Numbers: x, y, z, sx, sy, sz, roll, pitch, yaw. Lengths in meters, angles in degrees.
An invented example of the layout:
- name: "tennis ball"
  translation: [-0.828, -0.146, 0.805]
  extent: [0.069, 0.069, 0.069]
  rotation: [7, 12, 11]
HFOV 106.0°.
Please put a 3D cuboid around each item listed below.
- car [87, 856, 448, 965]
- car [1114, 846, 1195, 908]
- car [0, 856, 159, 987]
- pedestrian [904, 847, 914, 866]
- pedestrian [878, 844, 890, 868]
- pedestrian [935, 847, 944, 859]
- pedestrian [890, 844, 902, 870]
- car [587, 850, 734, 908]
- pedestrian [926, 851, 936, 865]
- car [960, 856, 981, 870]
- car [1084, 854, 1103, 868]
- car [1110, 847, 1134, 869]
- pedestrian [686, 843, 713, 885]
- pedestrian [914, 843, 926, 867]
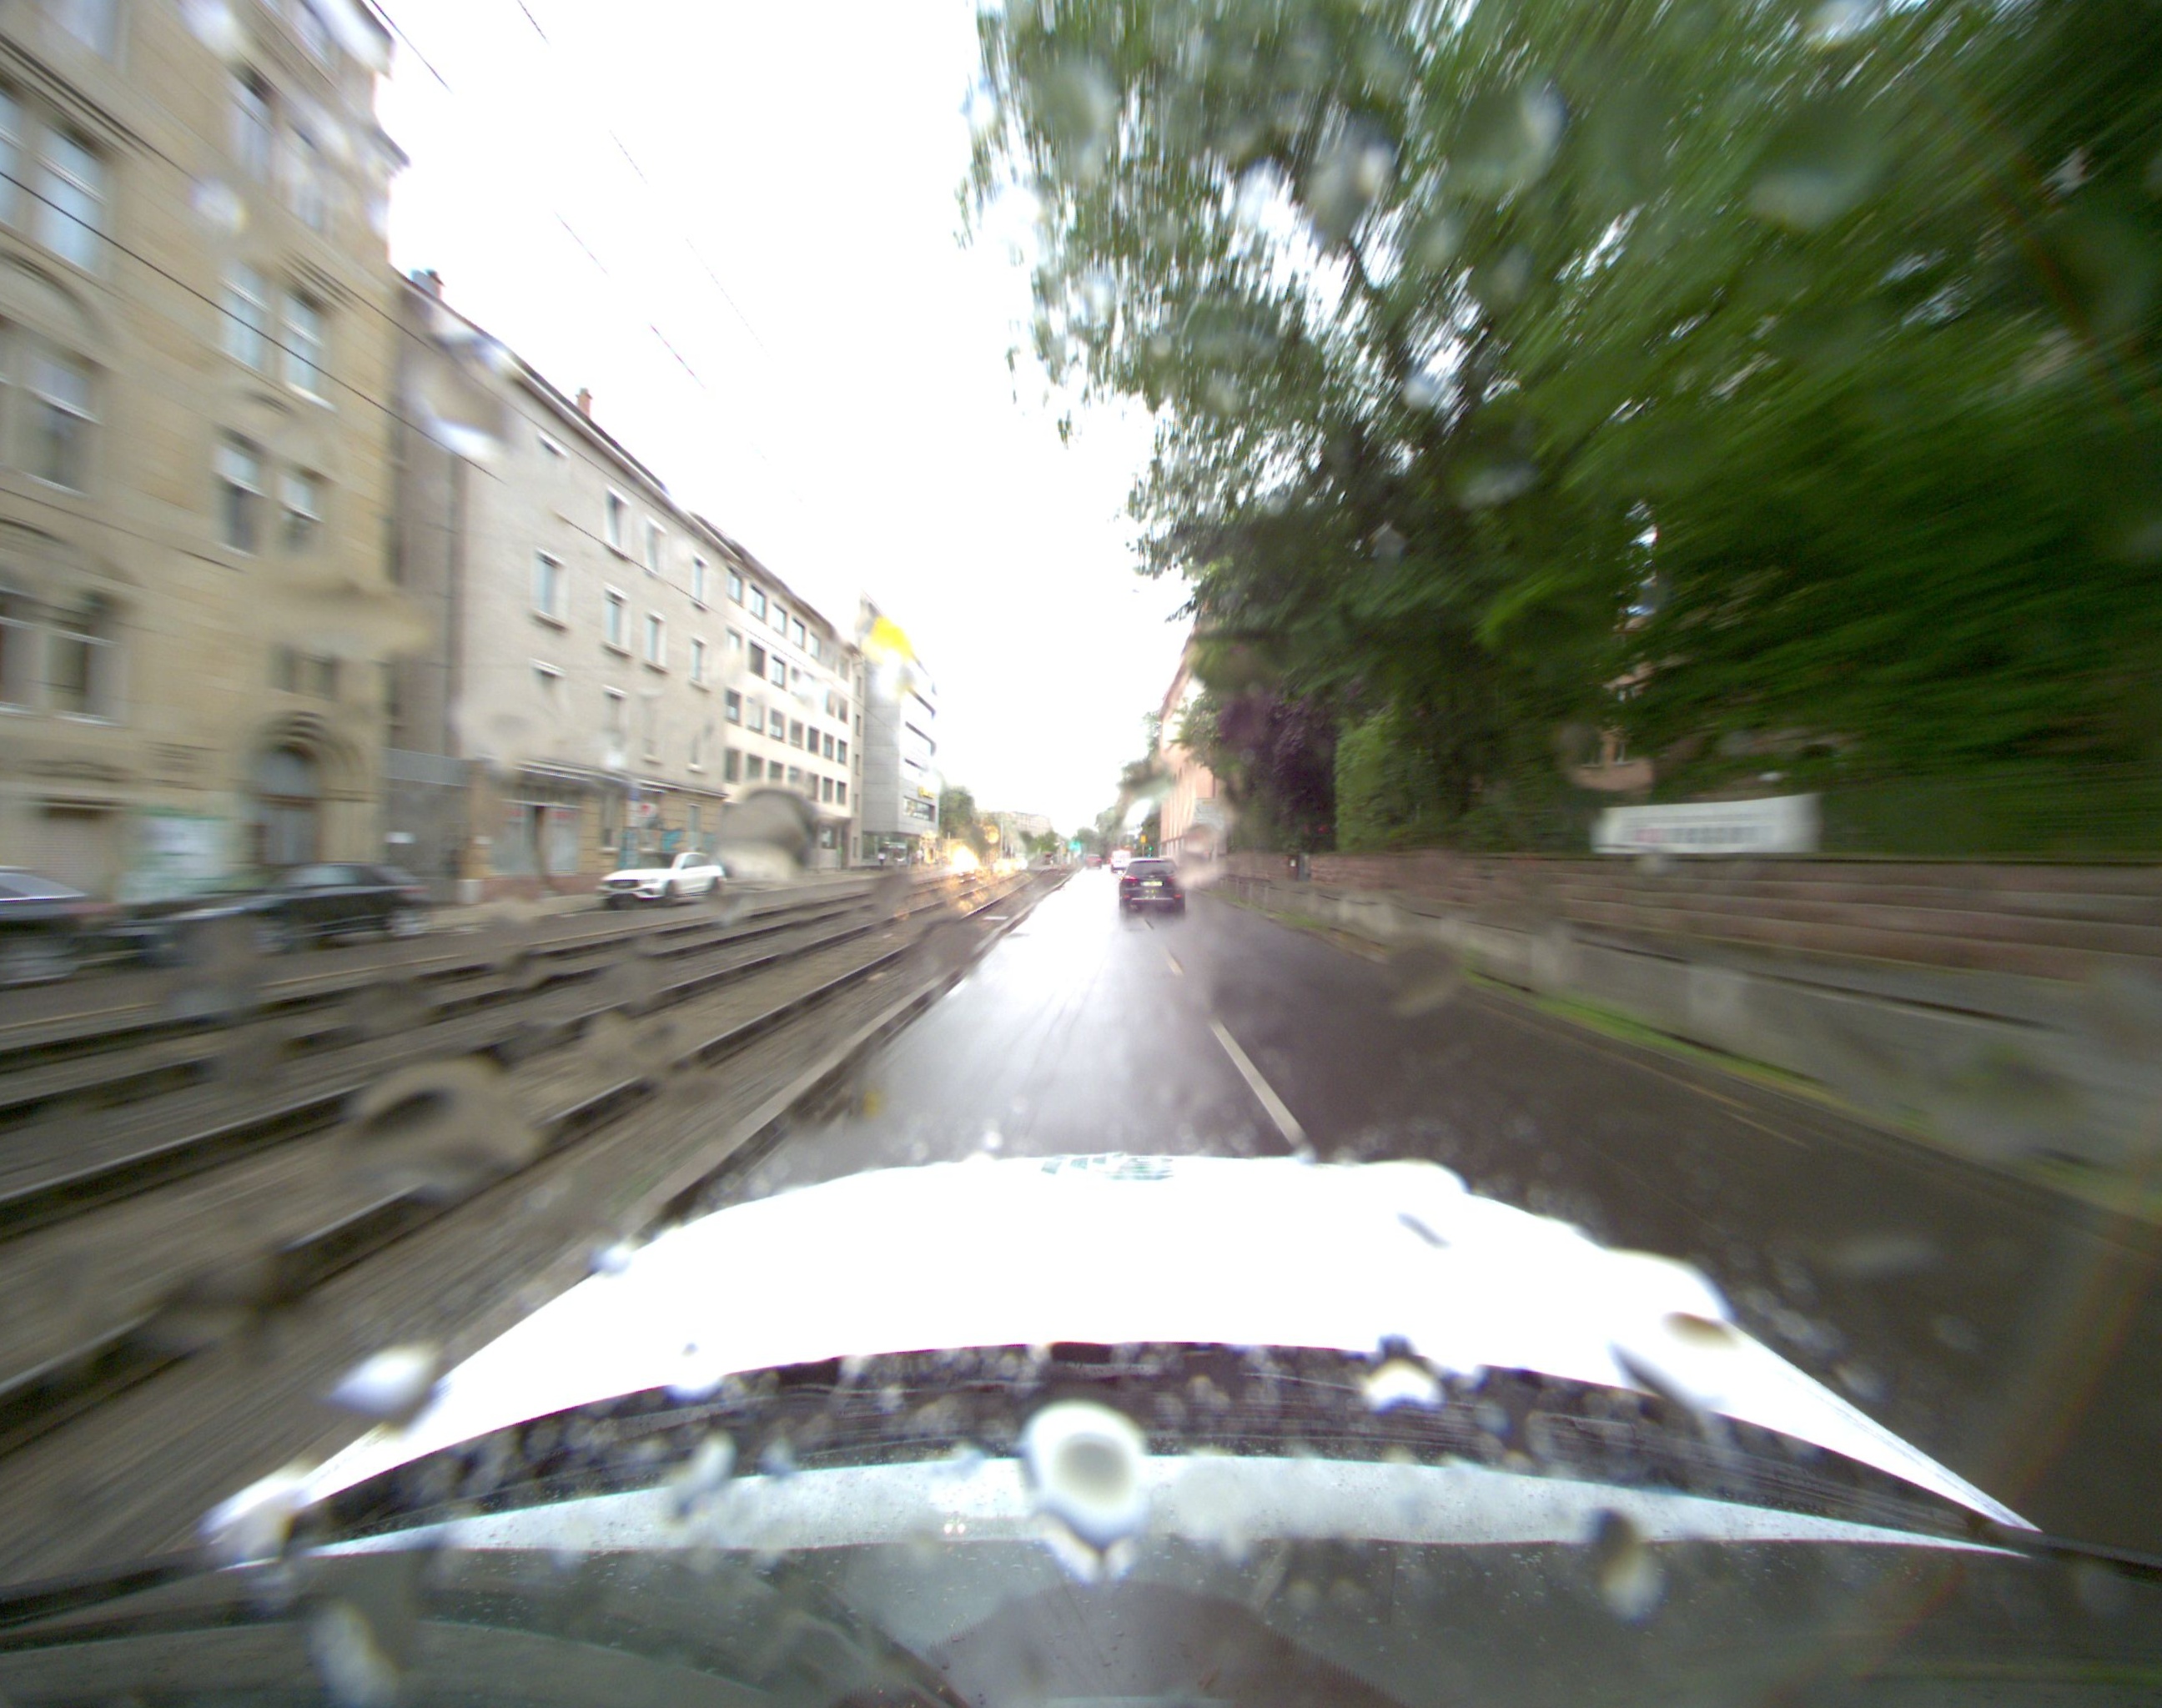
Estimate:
- name: "car"
  translation: [-13.045, 0.792, 13.527]
  extent: [1.730, 1.456, 4.170]
  rotation: [-2, 0, 0]
- name: "car"
  translation: [2.006, 0.599, 23.552]
  extent: [2.028, 1.584, 4.393]
  rotation: [1, 0, 1]
- name: "car"
  translation: [-13.110, 0.795, 8.134]
  extent: [1.987, 1.456, 5.022]
  rotation: [-2, 0, 1]
- name: "pedestrian"
  translation: [-15.002, 0.242, 71.081]
  extent: [0.582, 1.594, 0.639]
  rotation: [2, -1, 18]
- name: "pedestrian"
  translation: [-15.613, 0.160, 64.566]
  extent: [0.658, 1.815, 0.974]
  rotation: [2, -1, 1]
- name: "pedestrian"
  translation: [-18.933, -0.167, 108.952]
  extent: [0.905, 1.594, 1.006]
  rotation: [2, -1, 9]
- name: "pedestrian"
  translation: [-14.729, 0.215, 64.689]
  extent: [0.658, 2.014, 0.811]
  rotation: [2, -1, 1]
- name: "car"
  translation: [-12.839, 0.709, 25.256]
  extent: [1.987, 1.536, 4.749]
  rotation: [-2, 0, 0]
- name: "pedestrian"
  translation: [-17.259, 0.470, 93.444]
  extent: [0.968, 1.594, 0.584]
  rotation: [3, -1, -24]
- name: "car"
  translation: [-12.936, 1.065, 95.302]
  extent: [1.935, 1.536, 4.345]
  rotation: [-2, 0, -2]
- name: "car"
  translation: [1.470, 0.760, 92.688]
  extent: [2.090, 1.506, 4.734]
  rotation: [-1, 0, 2]
- name: "car"
  translation: [3.671, 0.343, 73.238]
  extent: [2.027, 1.840, 4.395]
  rotation: [1, 0, 3]
- name: "pedestrian"
  translation: [-15.158, 0.406, 32.366]
  extent: [0.544, 1.612, 0.799]
  rotation: [3, 0, 3]
- name: "pedestrian"
  translation: [-14.103, 0.077, 71.318]
  extent: [0.666, 2.014, 0.610]
  rotation: [3, -1, -37]
